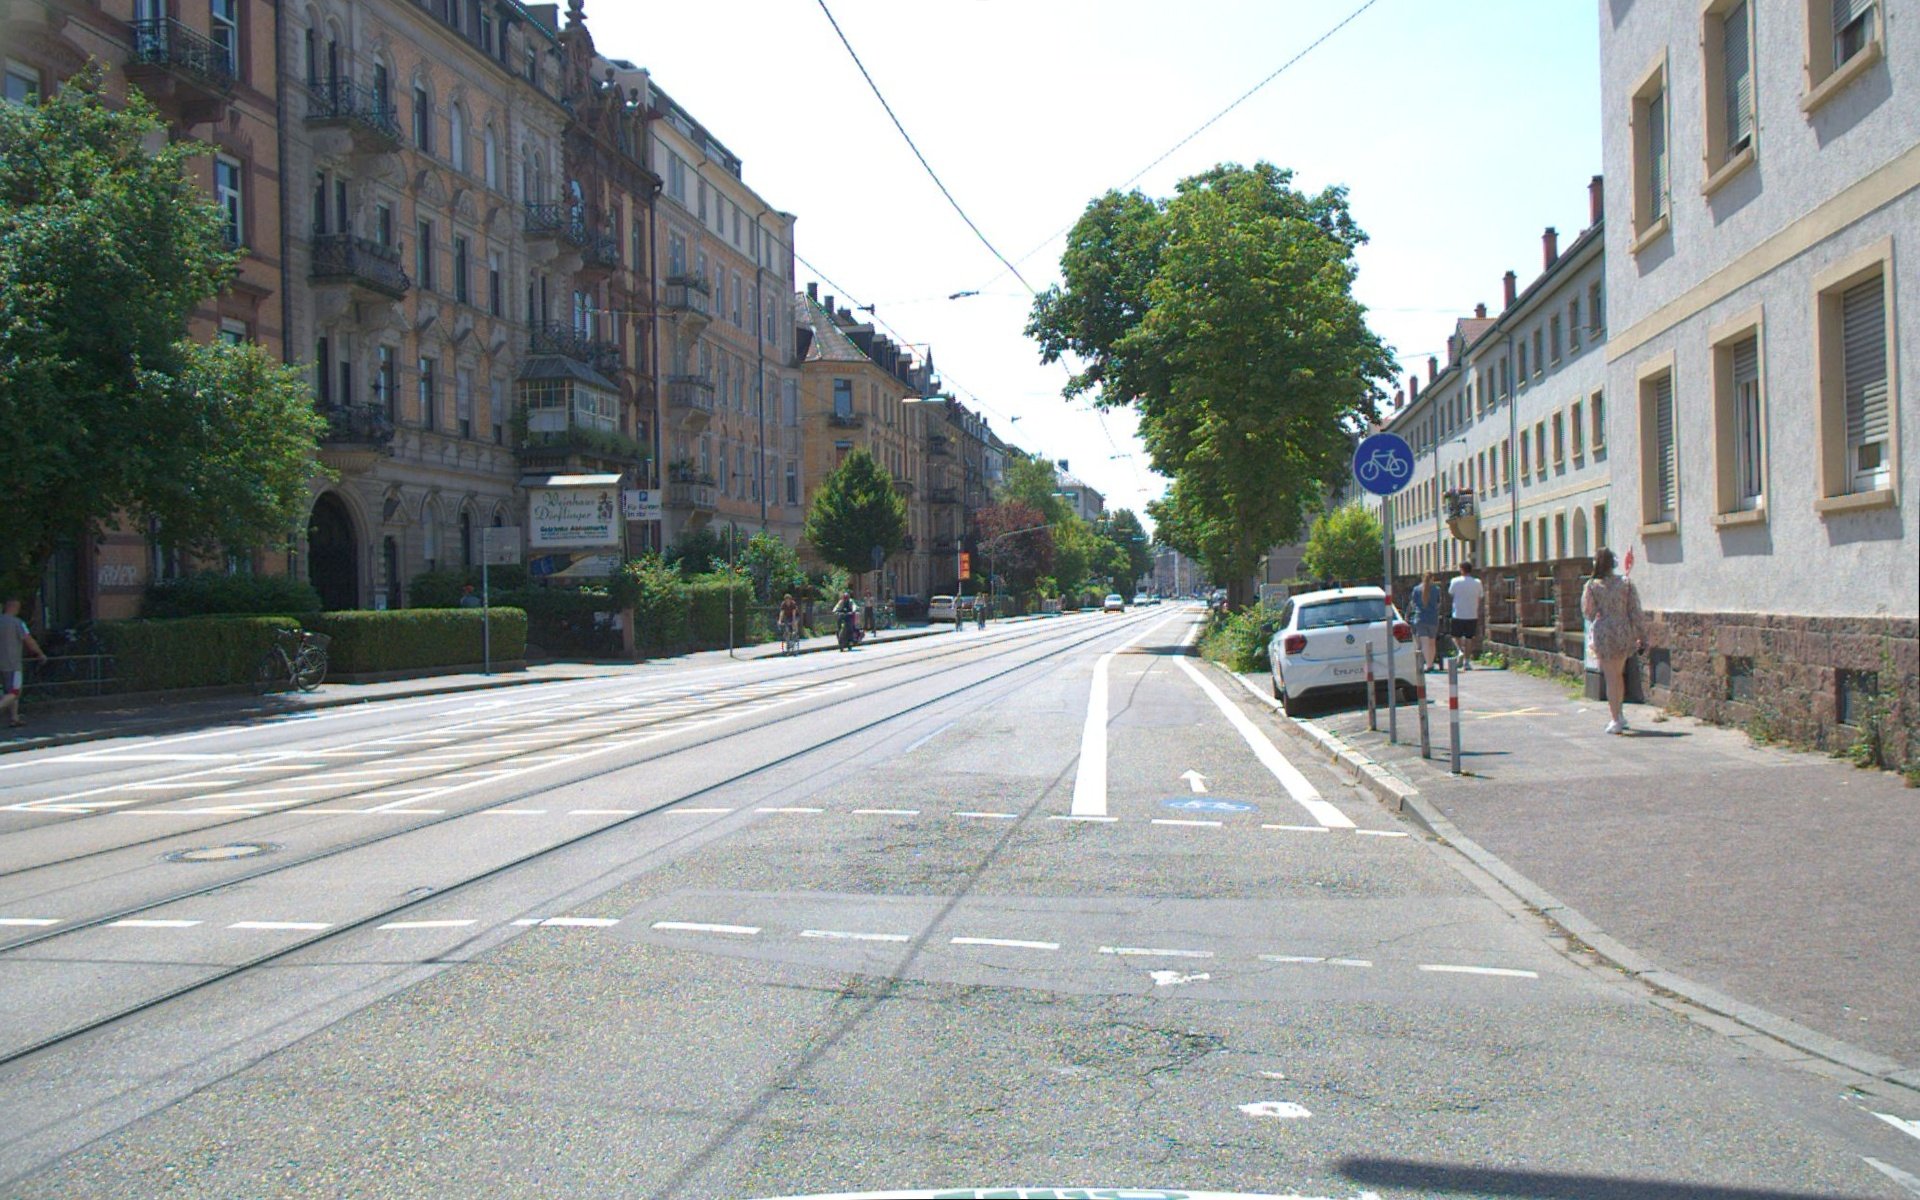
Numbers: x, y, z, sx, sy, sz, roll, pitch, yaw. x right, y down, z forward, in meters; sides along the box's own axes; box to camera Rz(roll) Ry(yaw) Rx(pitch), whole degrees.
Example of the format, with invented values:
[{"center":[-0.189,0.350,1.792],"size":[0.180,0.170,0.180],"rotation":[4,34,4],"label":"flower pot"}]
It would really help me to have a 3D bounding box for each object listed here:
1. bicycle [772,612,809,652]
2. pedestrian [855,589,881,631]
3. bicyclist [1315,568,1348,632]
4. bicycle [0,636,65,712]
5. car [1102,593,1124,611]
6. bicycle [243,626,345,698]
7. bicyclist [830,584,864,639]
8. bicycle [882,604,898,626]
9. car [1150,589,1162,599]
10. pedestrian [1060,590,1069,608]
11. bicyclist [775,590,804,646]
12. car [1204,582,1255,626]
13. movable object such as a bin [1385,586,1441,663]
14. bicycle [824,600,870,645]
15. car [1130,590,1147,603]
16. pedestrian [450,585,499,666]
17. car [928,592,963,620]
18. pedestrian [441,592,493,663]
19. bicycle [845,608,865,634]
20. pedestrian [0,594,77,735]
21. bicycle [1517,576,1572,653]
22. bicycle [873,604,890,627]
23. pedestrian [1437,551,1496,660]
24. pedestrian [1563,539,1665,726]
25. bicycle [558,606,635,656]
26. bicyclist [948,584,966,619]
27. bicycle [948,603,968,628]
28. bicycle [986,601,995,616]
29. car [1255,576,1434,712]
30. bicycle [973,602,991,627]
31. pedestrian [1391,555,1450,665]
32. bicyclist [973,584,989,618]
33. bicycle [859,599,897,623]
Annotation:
[{"center":[-4.790,0.886,46.720],"size":[0.555,1.056,1.830],"rotation":[-2,0,9],"label":"bicycle"},{"center":[-3.885,0.421,69.688],"size":[0.833,1.753,1.139],"rotation":[1,1,9],"label":"pedestrian"},{"center":[8.769,-0.001,39.083],"size":[0.696,1.477,1.011],"rotation":[-2,0,11],"label":"bicyclist"},{"center":[-13.424,1.046,23.145],"size":[1.611,1.013,0.495],"rotation":[-2,0,10],"label":"bicycle"},{"center":[13.232,0.162,142.986],"size":[1.649,1.475,4.004],"rotation":[-2,0,8],"label":"car"},{"center":[-11.096,1.013,27.627],"size":[0.624,1.112,1.933],"rotation":[0,1,12],"label":"bicycle"},{"center":[-3.470,0.352,50.856],"size":[0.790,1.658,0.981],"rotation":[-2,0,9],"label":"bicyclist"},{"center":[-3.187,0.684,75.746],"size":[0.429,1.000,1.712],"rotation":[-2,0,7],"label":"bicycle"},{"center":[29.620,-0.857,250.096],"size":[1.650,1.480,3.751],"rotation":[-2,0,9],"label":"car"},{"center":[9.864,-0.094,156.125],"size":[0.735,1.657,0.834],"rotation":[-1,0,5],"label":"pedestrian"},{"center":[-4.813,0.493,46.685],"size":[0.550,1.542,0.892],"rotation":[-2,0,9],"label":"bicyclist"},{"center":[10.376,0.130,63.855],"size":[1.696,1.579,4.457],"rotation":[-2,1,7],"label":"car"},{"center":[7.529,0.394,27.532],"size":[0.682,1.206,1.037],"rotation":[-4,0,8],"label":"movable object such as a bin"},{"center":[-3.455,0.690,50.849],"size":[0.790,1.293,2.553],"rotation":[-2,0,9],"label":"bicycle"},{"center":[21.811,-0.458,201.972],"size":[1.718,1.449,4.003],"rotation":[-2,0,9],"label":"car"},{"center":[-11.681,0.609,39.786],"size":[0.809,1.889,0.866],"rotation":[-2,0,-39],"label":"pedestrian"},{"center":[-0.886,0.350,101.766],"size":[1.826,1.628,4.104],"rotation":[0,0,4],"label":"car"},{"center":[-12.190,0.678,40.904],"size":[0.893,1.730,0.821],"rotation":[-2,0,36],"label":"pedestrian"},{"center":[-4.367,0.852,68.651],"size":[0.486,1.004,1.712],"rotation":[2,1,7],"label":"bicycle"},{"center":[-11.964,0.803,20.962],"size":[0.853,1.730,1.014],"rotation":[-2,0,15],"label":"pedestrian"},{"center":[9.543,0.223,27.032],"size":[0.584,1.196,1.755],"rotation":[-2,0,12],"label":"bicycle"},{"center":[-3.504,0.679,73.727],"size":[0.429,1.000,1.712],"rotation":[-2,0,7],"label":"bicycle"},{"center":[8.221,0.089,26.887],"size":[0.682,1.698,0.757],"rotation":[-4,0,8],"label":"pedestrian"},{"center":[6.142,0.299,15.568],"size":[0.682,1.699,0.757],"rotation":[-2,0,7],"label":"pedestrian"},{"center":[-9.322,0.796,42.402],"size":[1.830,1.249,0.569],"rotation":[0,0,6],"label":"bicycle"},{"center":[-0.138,0.085,78.029],"size":[0.620,1.612,1.029],"rotation":[-3,0,8],"label":"bicyclist"},{"center":[-0.106,0.730,78.073],"size":[0.616,1.097,1.877],"rotation":[-3,0,8],"label":"bicycle"},{"center":[2.037,0.564,110.490],"size":[0.444,1.021,1.808],"rotation":[-1,0,5],"label":"bicycle"},{"center":[4.917,0.505,21.658],"size":[1.740,1.434,4.160],"rotation":[-6,0,7],"label":"car"},{"center":[1.034,0.675,78.058],"size":[0.569,1.097,1.892],"rotation":[-3,0,8],"label":"bicycle"},{"center":[7.394,0.157,26.585],"size":[0.682,1.698,0.870],"rotation":[-4,0,8],"label":"pedestrian"},{"center":[1.003,0.037,78.076],"size":[0.580,1.571,0.953],"rotation":[-3,0,8],"label":"bicyclist"},{"center":[-3.843,0.528,77.227],"size":[1.669,1.055,0.551],"rotation":[-2,0,13],"label":"bicycle"}]
